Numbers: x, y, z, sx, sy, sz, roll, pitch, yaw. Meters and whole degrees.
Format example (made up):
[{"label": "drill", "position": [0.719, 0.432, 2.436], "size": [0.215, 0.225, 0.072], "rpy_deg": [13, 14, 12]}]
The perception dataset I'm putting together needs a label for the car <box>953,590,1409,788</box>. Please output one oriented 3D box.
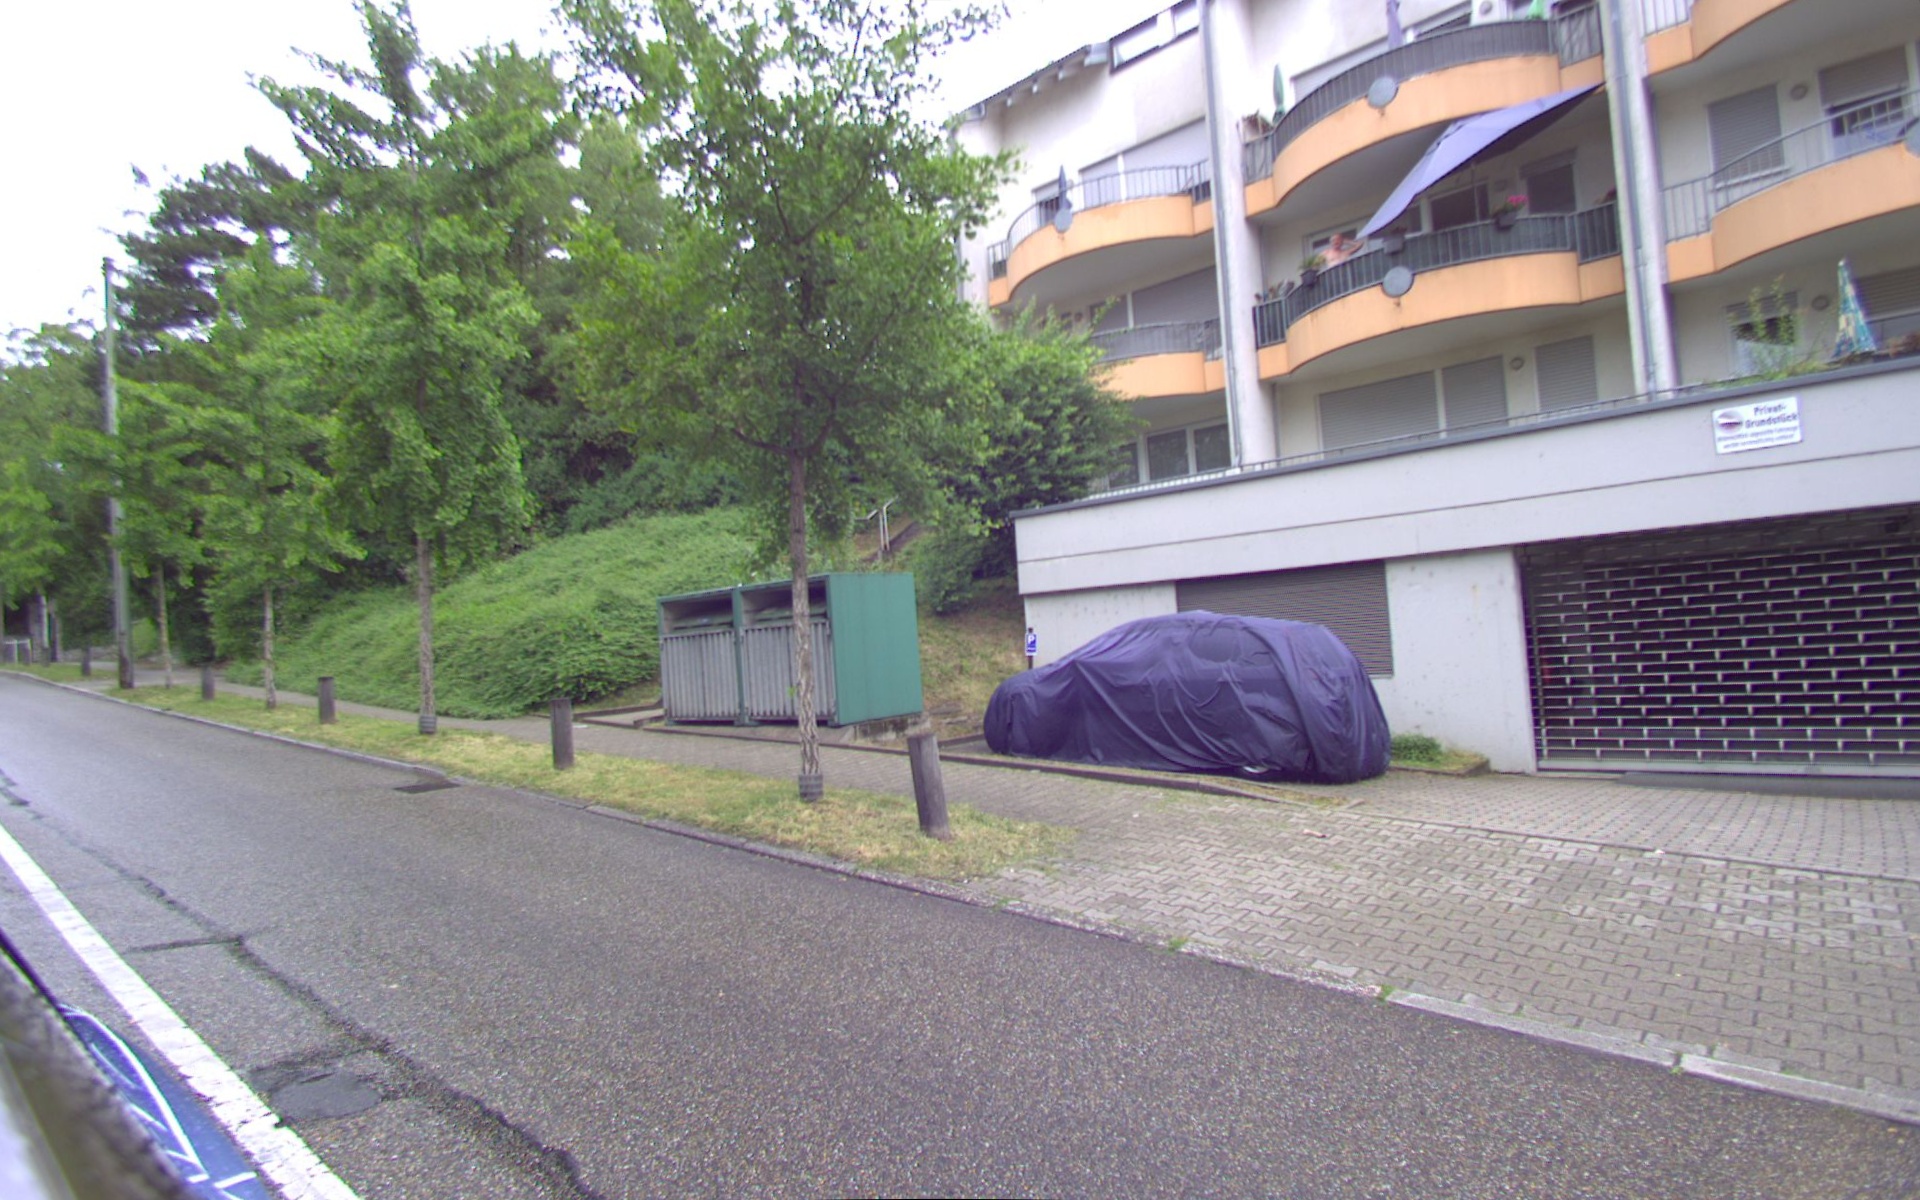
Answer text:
[{"label": "car", "position": [2.054, 0.800, 10.075], "size": [4.096, 1.573, 1.759], "rpy_deg": [-2, -4, 41]}]
